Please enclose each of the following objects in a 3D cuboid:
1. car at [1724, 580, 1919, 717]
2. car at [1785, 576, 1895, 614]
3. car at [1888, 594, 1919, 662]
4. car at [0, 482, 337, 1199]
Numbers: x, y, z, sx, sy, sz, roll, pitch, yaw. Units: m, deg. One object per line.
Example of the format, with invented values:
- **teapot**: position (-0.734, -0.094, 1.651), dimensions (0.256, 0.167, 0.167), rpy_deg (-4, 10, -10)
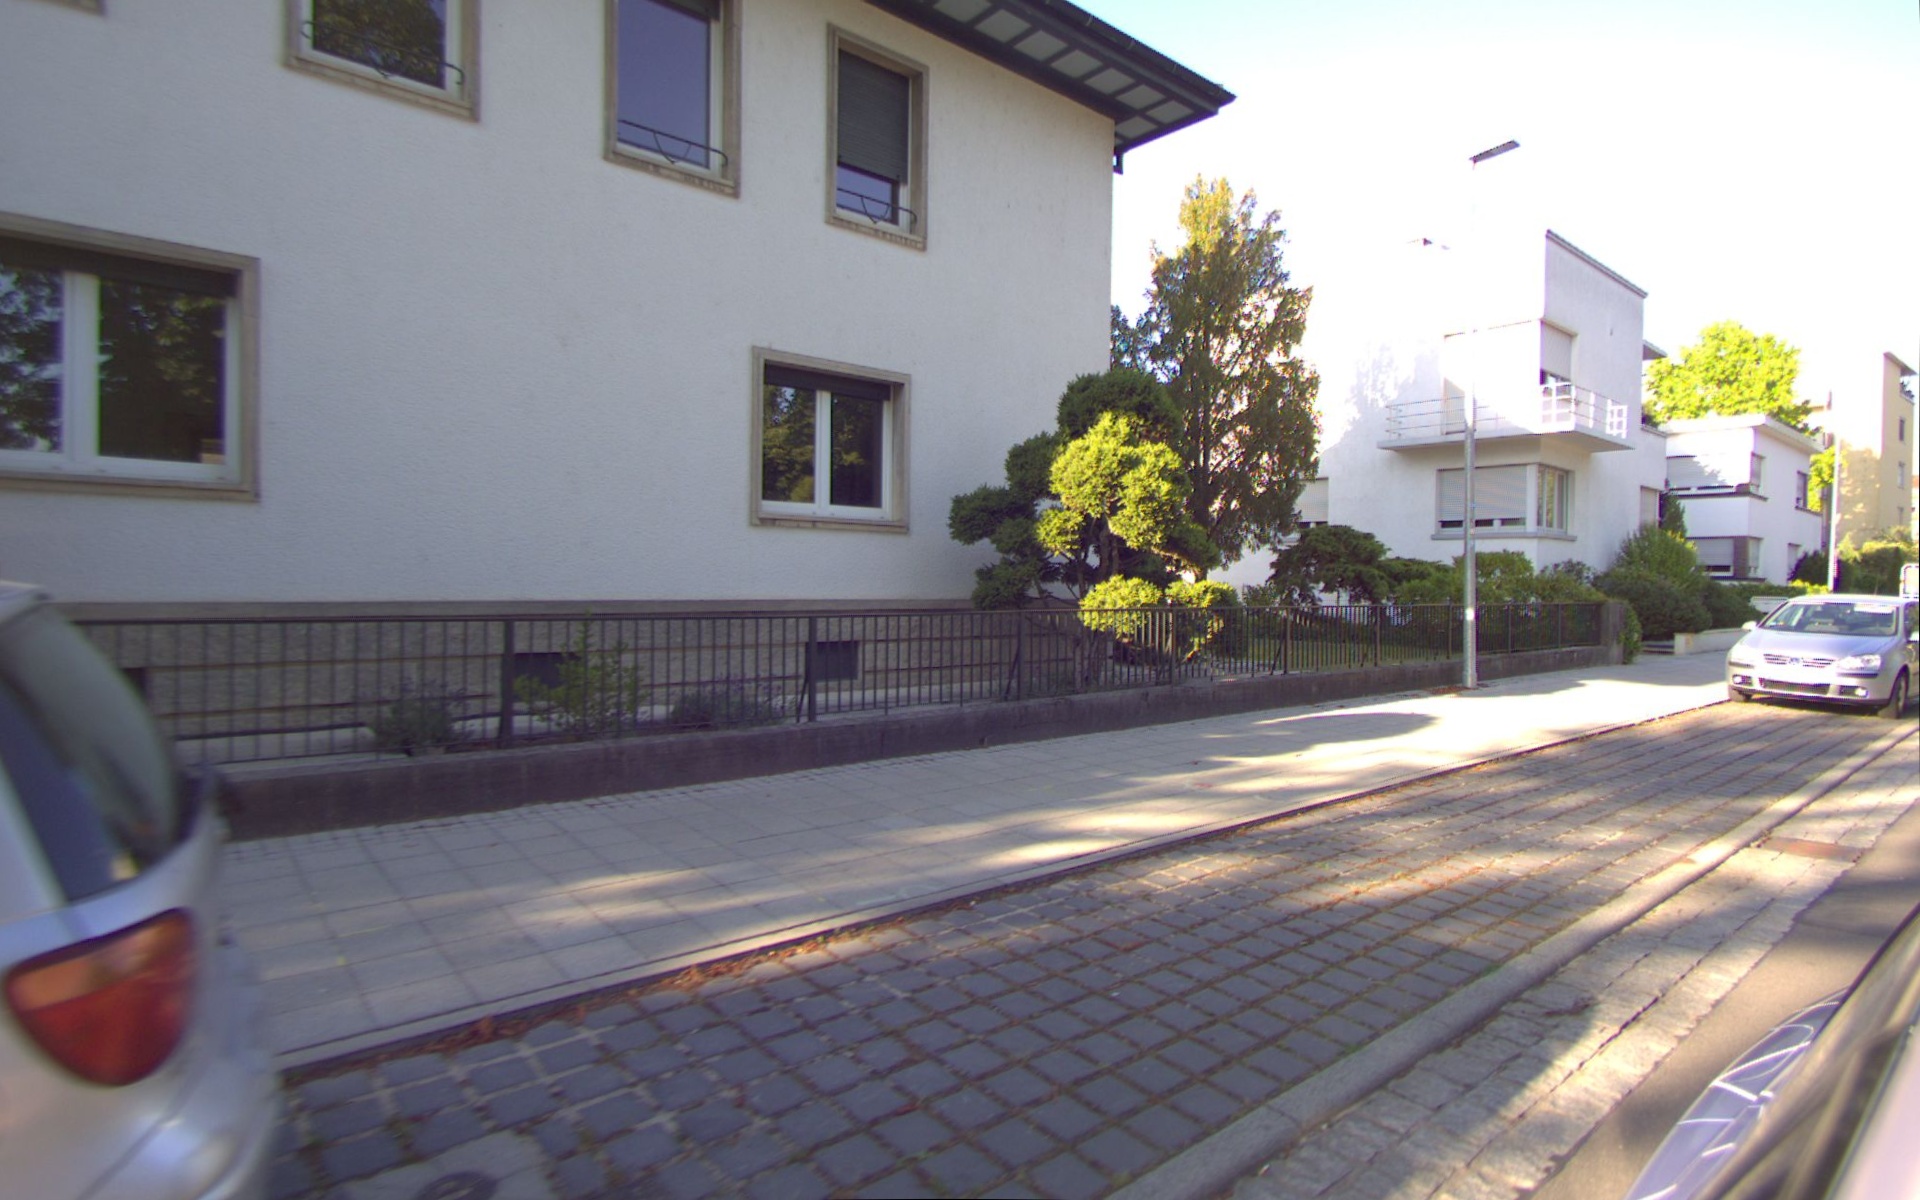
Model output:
- **car**: position (11.913, 0.538, 13.452), dimensions (3.849, 1.492, 1.750), rpy_deg (0, 3, -37)
- **car**: position (40.521, -0.242, 46.663), dimensions (1.611, 1.662, 3.507), rpy_deg (-1, 1, -32)
- **car**: position (20.586, 0.591, 20.708), dimensions (4.196, 1.304, 1.779), rpy_deg (0, 3, -40)
- **car**: position (-2.733, 0.593, 0.858), dimensions (3.568, 1.523, 1.632), rpy_deg (0, 2, -40)
